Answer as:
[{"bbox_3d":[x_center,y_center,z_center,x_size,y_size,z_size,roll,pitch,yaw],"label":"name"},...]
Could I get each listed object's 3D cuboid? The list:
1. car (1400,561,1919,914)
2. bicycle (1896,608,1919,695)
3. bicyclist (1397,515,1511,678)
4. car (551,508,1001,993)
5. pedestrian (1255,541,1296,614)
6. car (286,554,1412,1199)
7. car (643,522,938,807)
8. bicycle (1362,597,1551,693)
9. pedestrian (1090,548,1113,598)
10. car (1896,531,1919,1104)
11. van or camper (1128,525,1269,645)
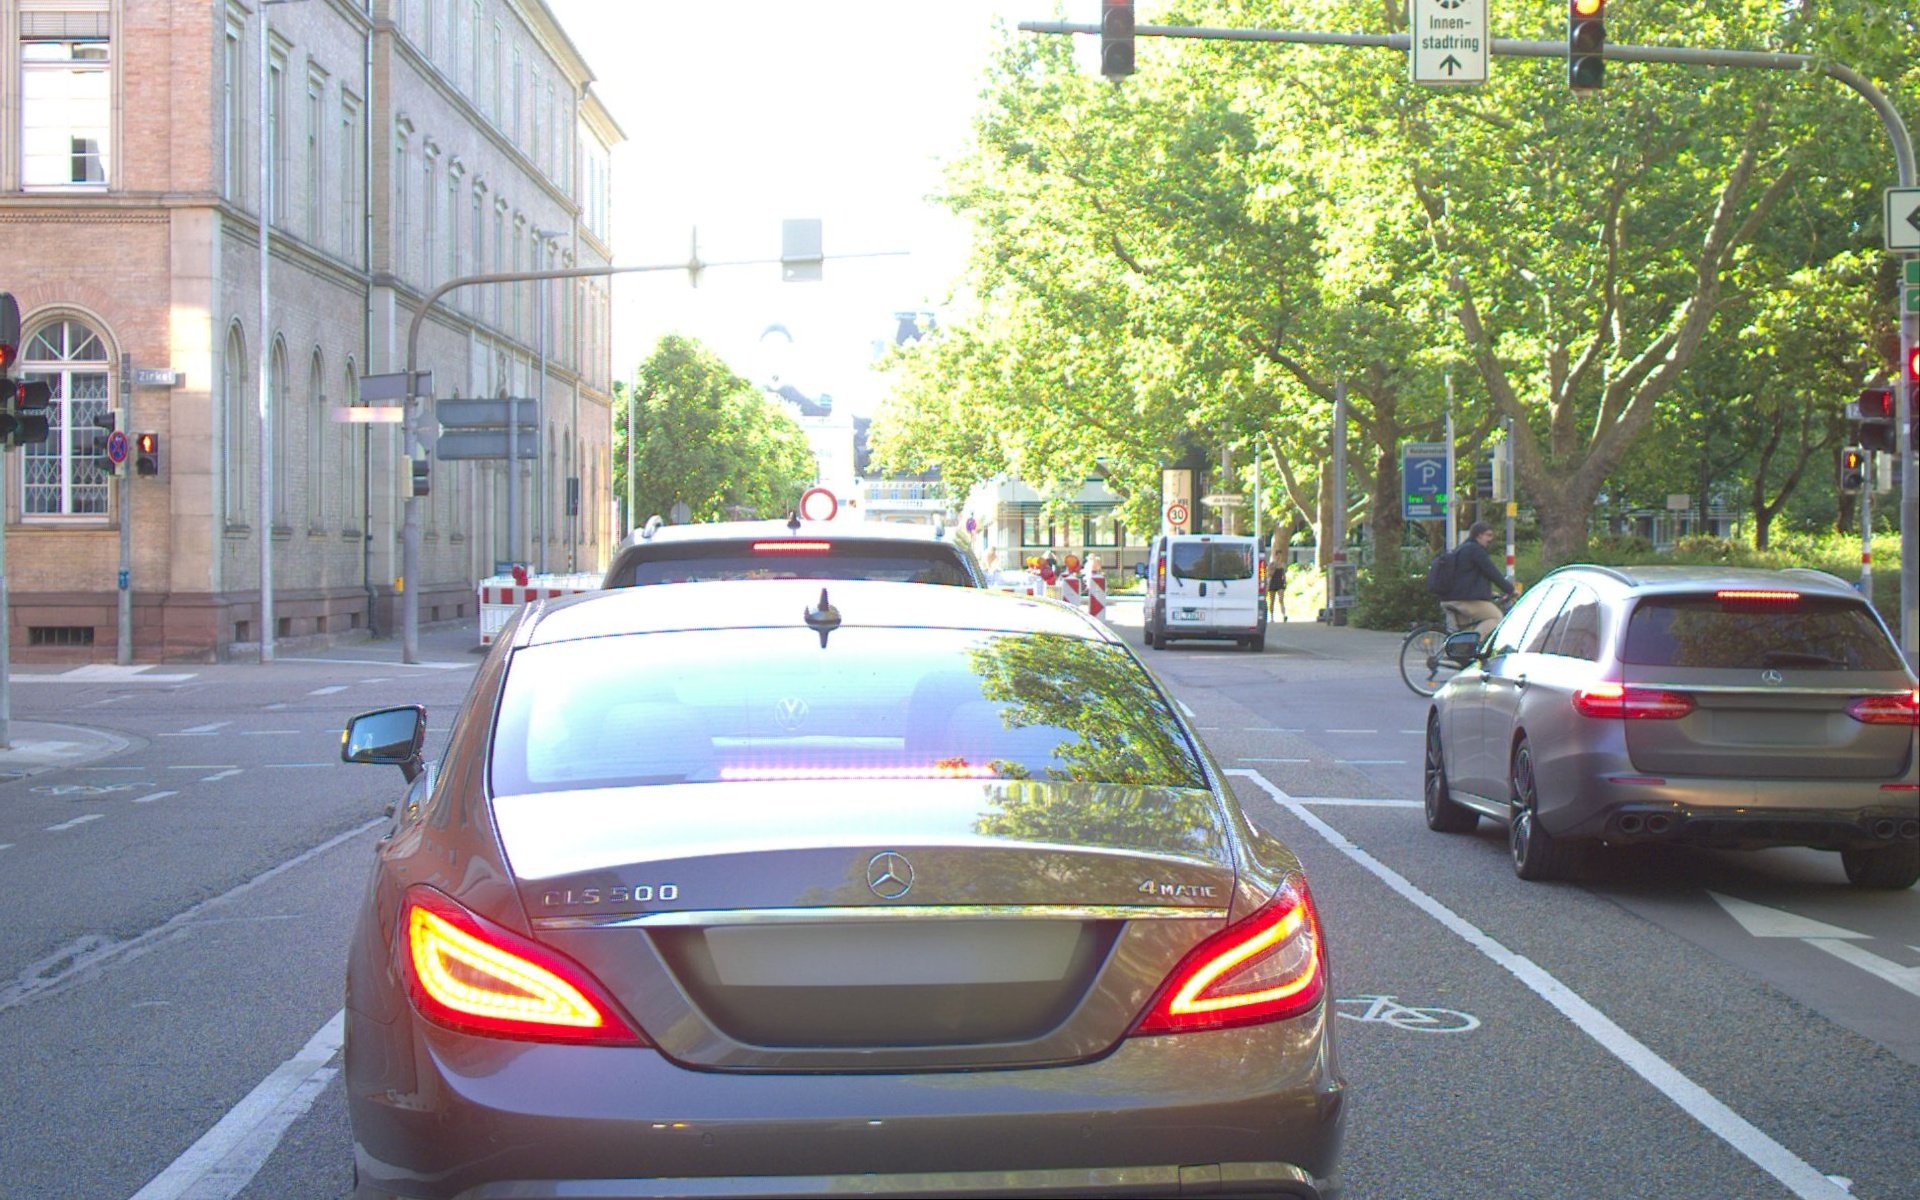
[{"bbox_3d":[3.492,0.571,17.156,1.913,1.459,4.669,1,1,-1],"label":"car"},{"bbox_3d":[10.975,0.540,36.263,1.986,0.900,0.734,0,1,-1],"label":"bicycle"},{"bbox_3d":[5.016,-0.039,34.954,1.014,1.637,0.608,0,1,-6],"label":"bicyclist"},{"bbox_3d":[-0.716,0.484,13.667,1.517,1.641,3.881,1,1,-3],"label":"car"},{"bbox_3d":[6.965,-0.505,75.903,0.830,1.601,0.651,0,1,-1],"label":"pedestrian"},{"bbox_3d":[-0.450,0.640,7.658,1.803,1.451,4.352,0,1,-8],"label":"car"},{"bbox_3d":[-1.073,0.364,23.257,1.820,1.756,4.000,0,1,-1],"label":"car"},{"bbox_3d":[5.043,0.455,34.964,1.793,0.943,0.614,1,1,-6],"label":"bicycle"},{"bbox_3d":[4.078,-0.777,99.090,0.648,1.428,0.659,0,1,-1],"label":"pedestrian"},{"bbox_3d":[3.493,0.641,7.889,1.701,1.597,3.859,0,1,1],"label":"car"},{"bbox_3d":[4.009,-0.284,58.384,1.993,1.935,4.594,0,1,-1],"label":"van or camper"}]
